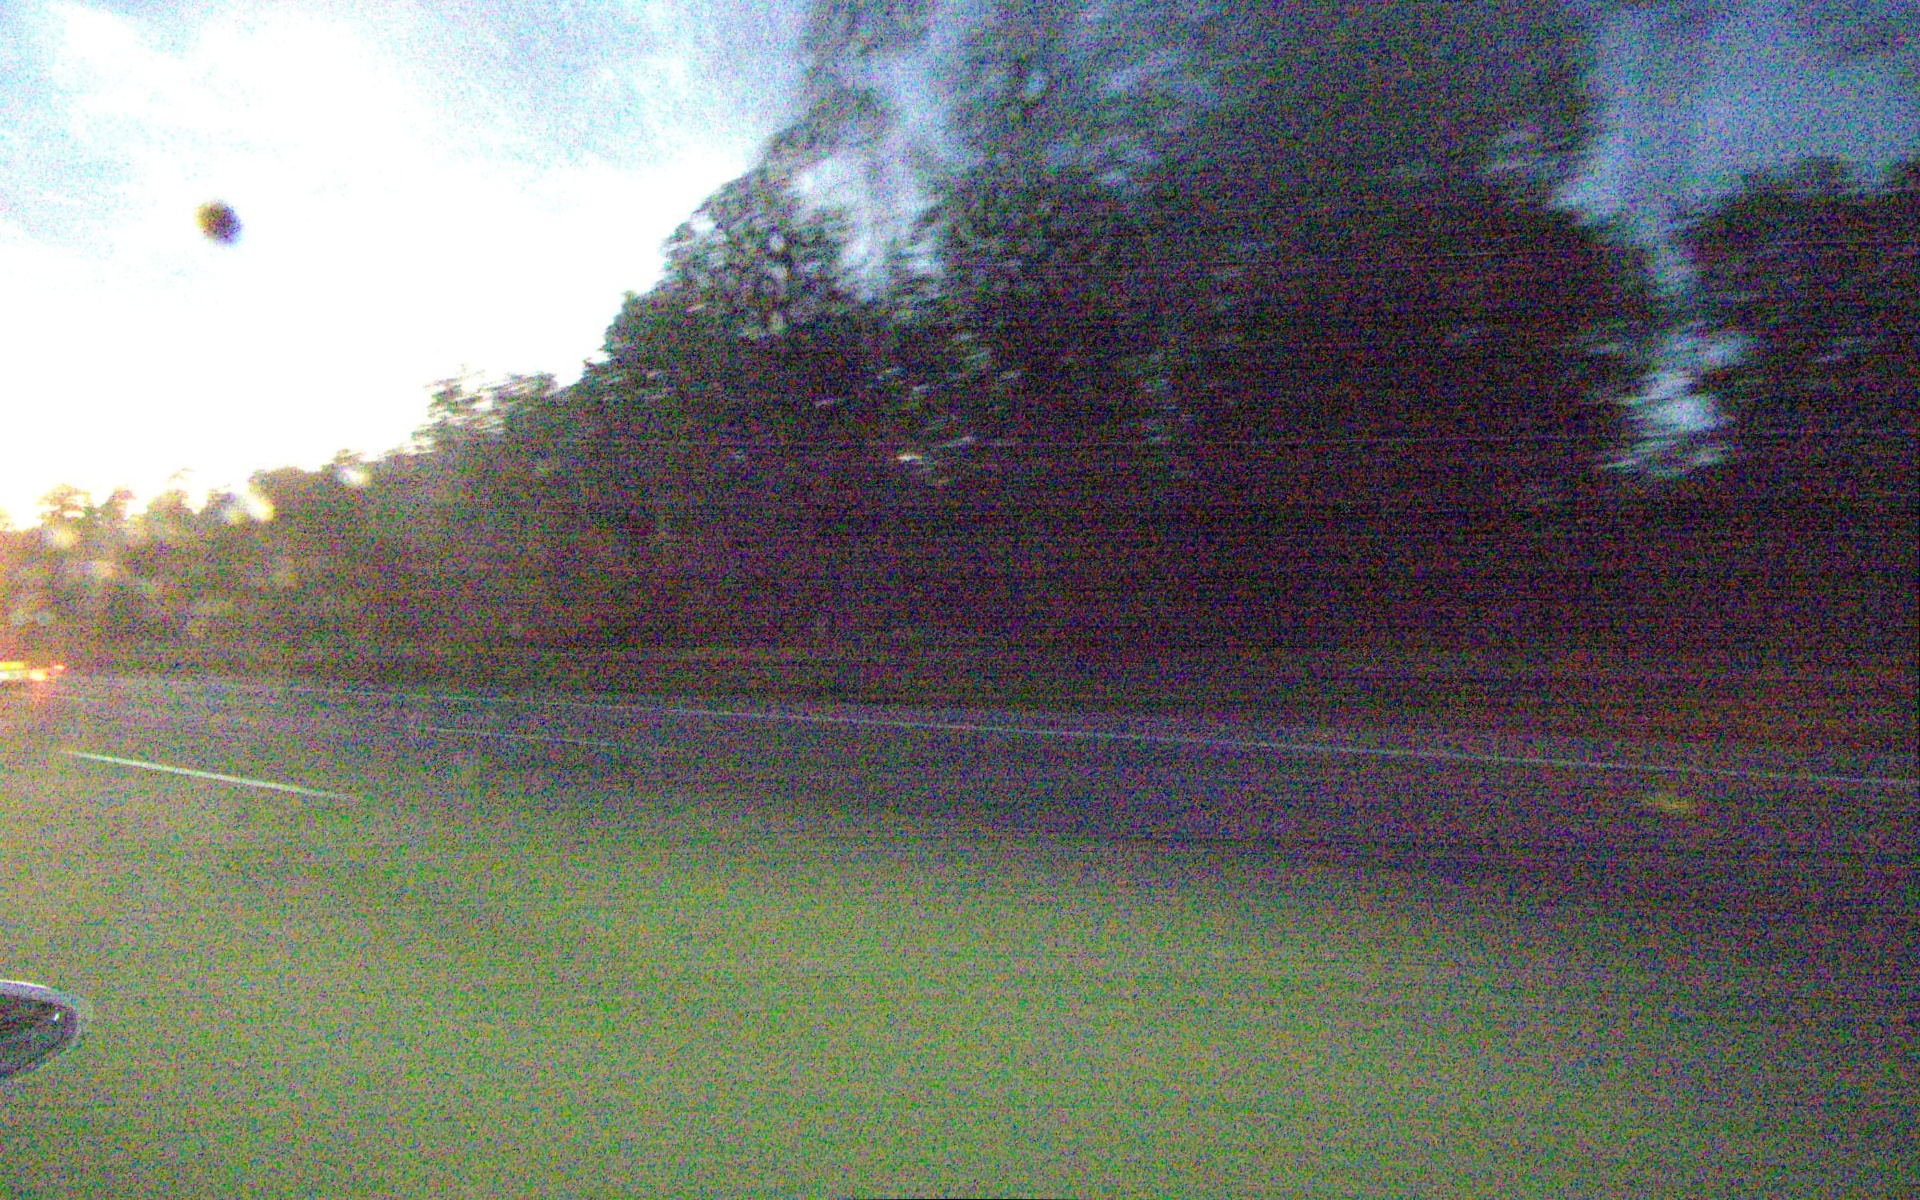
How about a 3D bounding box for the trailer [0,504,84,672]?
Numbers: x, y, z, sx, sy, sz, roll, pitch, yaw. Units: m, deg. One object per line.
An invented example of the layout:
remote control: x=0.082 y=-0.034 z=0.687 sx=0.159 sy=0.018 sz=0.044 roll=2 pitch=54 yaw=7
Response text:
trailer: x=-27.831 y=-0.171 z=27.849 sx=10.219 sy=4.153 sz=2.899 roll=-2 pitch=-1 yaw=35
